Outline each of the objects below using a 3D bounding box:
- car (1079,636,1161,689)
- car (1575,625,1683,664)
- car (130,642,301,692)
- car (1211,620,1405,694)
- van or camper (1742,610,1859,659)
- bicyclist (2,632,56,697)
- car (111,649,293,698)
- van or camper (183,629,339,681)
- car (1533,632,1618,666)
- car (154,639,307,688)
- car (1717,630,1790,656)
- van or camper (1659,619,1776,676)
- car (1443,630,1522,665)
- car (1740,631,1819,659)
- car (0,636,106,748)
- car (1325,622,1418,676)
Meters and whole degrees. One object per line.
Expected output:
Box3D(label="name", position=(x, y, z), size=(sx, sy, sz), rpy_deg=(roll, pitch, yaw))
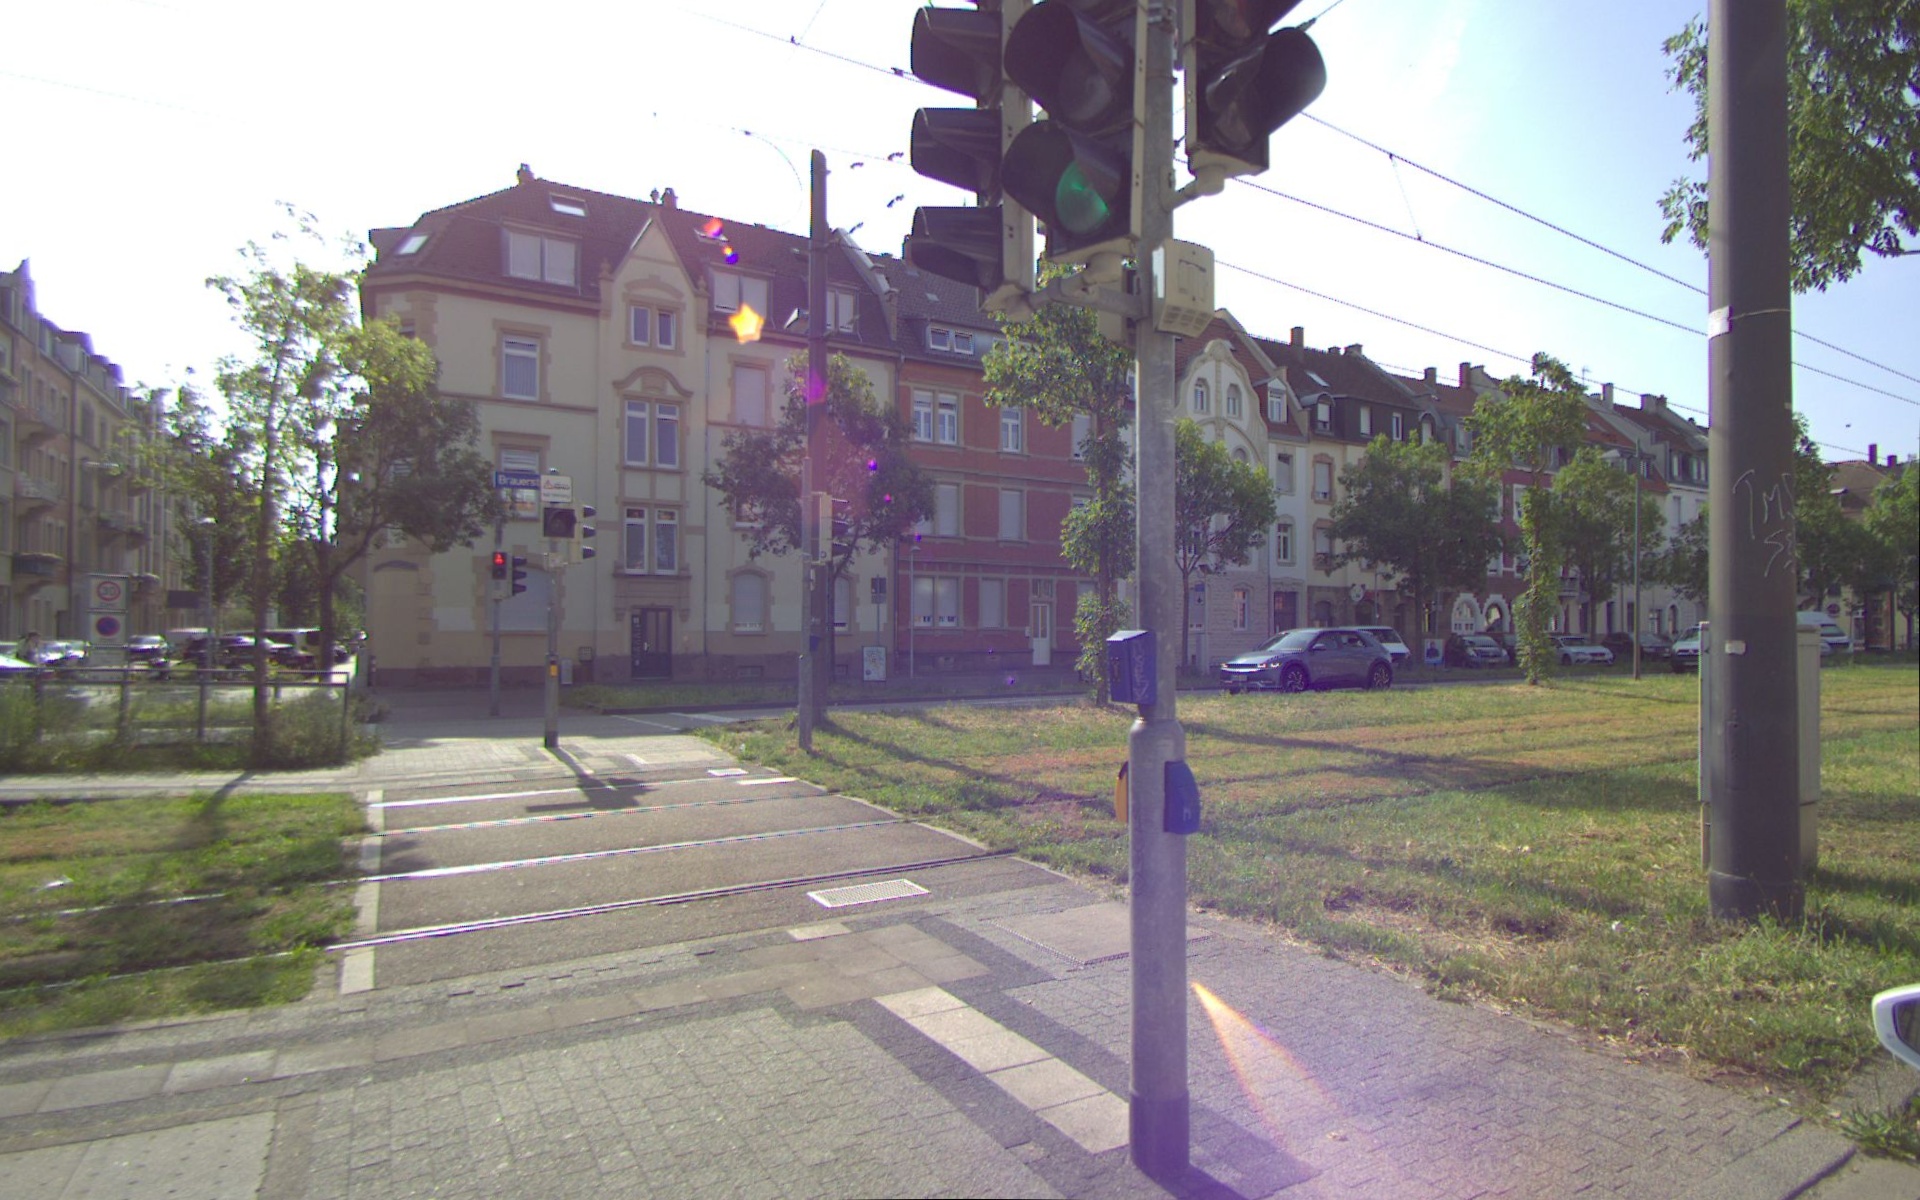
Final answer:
Box3D(label="car", position=(4.994, 1.944, 31.931), size=(1.983, 1.504, 4.780), rpy_deg=(2, -2, 2))
Box3D(label="car", position=(32.124, 2.121, 48.404), size=(1.799, 1.765, 4.646), rpy_deg=(0, -2, -5))
Box3D(label="car", position=(-22.409, 1.999, 30.421), size=(3.954, 1.431, 1.660), rpy_deg=(2, -3, -31))
Box3D(label="car", position=(8.256, 1.315, 23.746), size=(4.524, 1.553, 1.825), rpy_deg=(2, 0, -31))
Box3D(label="van or camper", position=(48.978, 1.935, 58.751), size=(2.155, 2.608, 5.928), rpy_deg=(2, 0, 4))
Box3D(label="bicyclist", position=(-23.739, 1.630, 25.631), size=(0.840, 1.579, 0.894), rpy_deg=(1, 0, -33))
Box3D(label="car", position=(-21.562, 2.062, 28.778), size=(3.954, 1.316, 1.660), rpy_deg=(2, -3, -31))
Box3D(label="van or camper", position=(-27.771, 2.178, 39.995), size=(4.972, 1.946, 1.777), rpy_deg=(1, -2, 3))
Box3D(label="car", position=(26.853, 2.101, 43.956), size=(1.629, 1.258, 3.688), rpy_deg=(2, 0, 4))
Box3D(label="car", position=(-24.290, 2.094, 33.619), size=(3.954, 1.534, 1.660), rpy_deg=(2, -3, -31))
Box3D(label="car", position=(43.731, 2.362, 55.467), size=(1.628, 1.258, 3.689), rpy_deg=(2, 0, 11))
Box3D(label="van or camper", position=(30.778, 1.909, 40.789), size=(5.292, 2.125, 1.941), rpy_deg=(2, 0, -31))
Box3D(label="car", position=(21.277, 1.896, 41.067), size=(1.495, 1.258, 3.688), rpy_deg=(-1, 0, 4))
Box3D(label="car", position=(46.239, 2.528, 56.759), size=(1.629, 1.349, 3.688), rpy_deg=(2, 0, 4))
Box3D(label="car", position=(-14.533, 1.256, 13.819), size=(3.954, 1.534, 1.660), rpy_deg=(2, -3, -31))
Box3D(label="car", position=(15.536, 1.794, 38.227), size=(1.819, 1.749, 4.954), rpy_deg=(2, 0, 4))
